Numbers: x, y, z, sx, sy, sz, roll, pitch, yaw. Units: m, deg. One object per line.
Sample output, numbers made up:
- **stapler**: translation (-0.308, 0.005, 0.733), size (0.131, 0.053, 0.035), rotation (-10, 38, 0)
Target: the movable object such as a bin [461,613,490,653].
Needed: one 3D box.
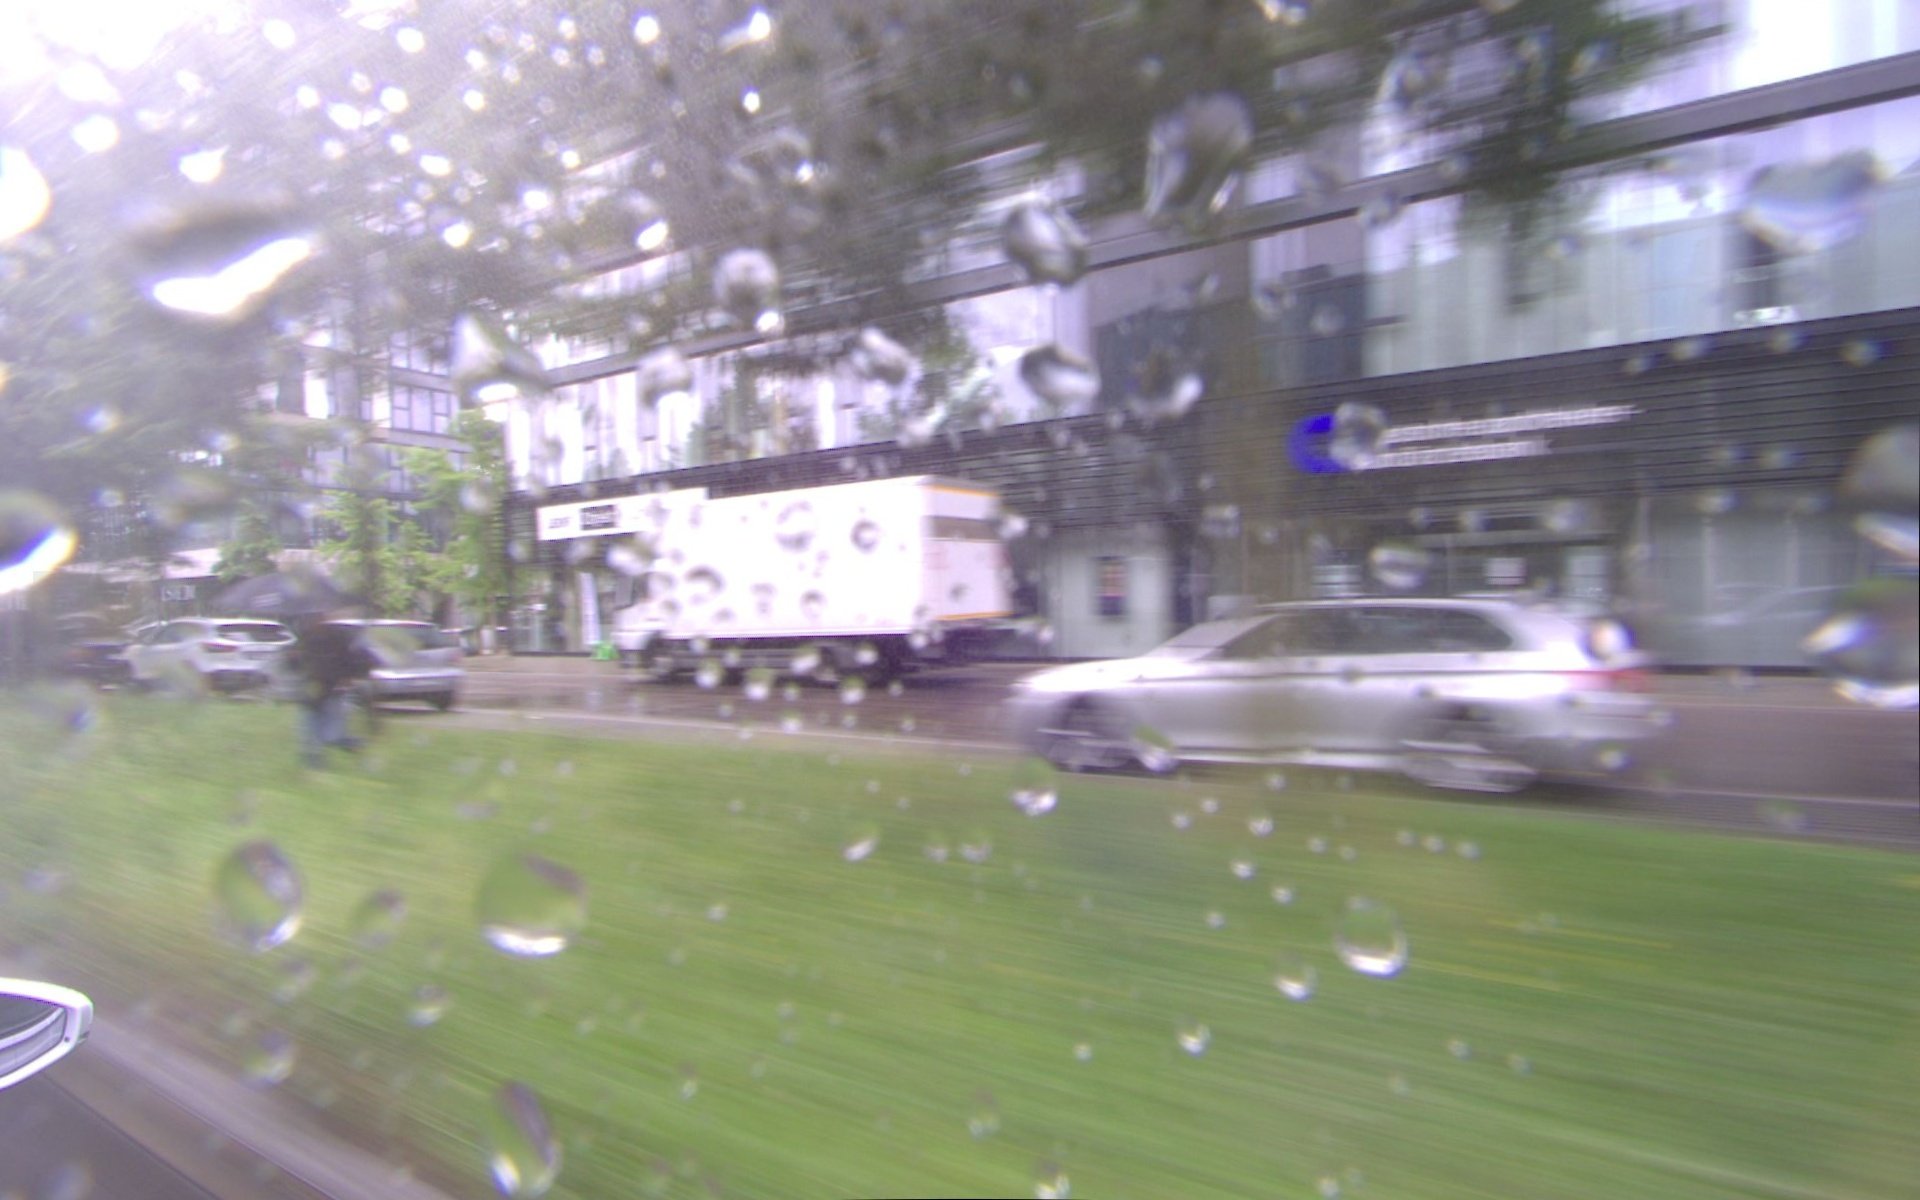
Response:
- **movable object such as a bin**: translation (-16.093, 1.092, 33.261), size (0.638, 1.294, 0.607), rotation (2, 2, 29)

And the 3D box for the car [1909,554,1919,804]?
- **car**: translation (7.559, 0.546, 4.800), size (4.041, 1.618, 1.756), rotation (1, 1, 33)

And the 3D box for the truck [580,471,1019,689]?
- **truck**: translation (-3.295, -0.237, 19.461), size (8.421, 3.486, 3.020), rotation (-1, 0, 30)

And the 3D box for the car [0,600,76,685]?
- **car**: translation (-25.520, 1.053, 26.458), size (4.957, 1.979, 1.989), rotation (1, 1, 33)

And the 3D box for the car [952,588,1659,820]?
- **car**: translation (2.651, 0.705, 8.468), size (5.159, 1.463, 1.991), rotation (-1, 0, 30)

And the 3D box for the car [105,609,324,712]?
- **car**: translation (-14.737, 1.087, 19.734), size (4.656, 1.692, 1.989), rotation (1, 1, 33)

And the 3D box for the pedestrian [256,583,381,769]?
- **pedestrian**: translation (-5.510, 0.624, 8.608), size (0.689, 1.513, 0.641), rotation (-1, 0, 31)

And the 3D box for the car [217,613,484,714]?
- **car**: translation (-10.045, 0.950, 16.412), size (4.653, 1.471, 1.767), rotation (0, -1, 31)

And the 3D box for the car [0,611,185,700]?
- **car**: translation (-19.913, 1.175, 22.881), size (4.887, 1.692, 1.989), rotation (1, 1, 33)
